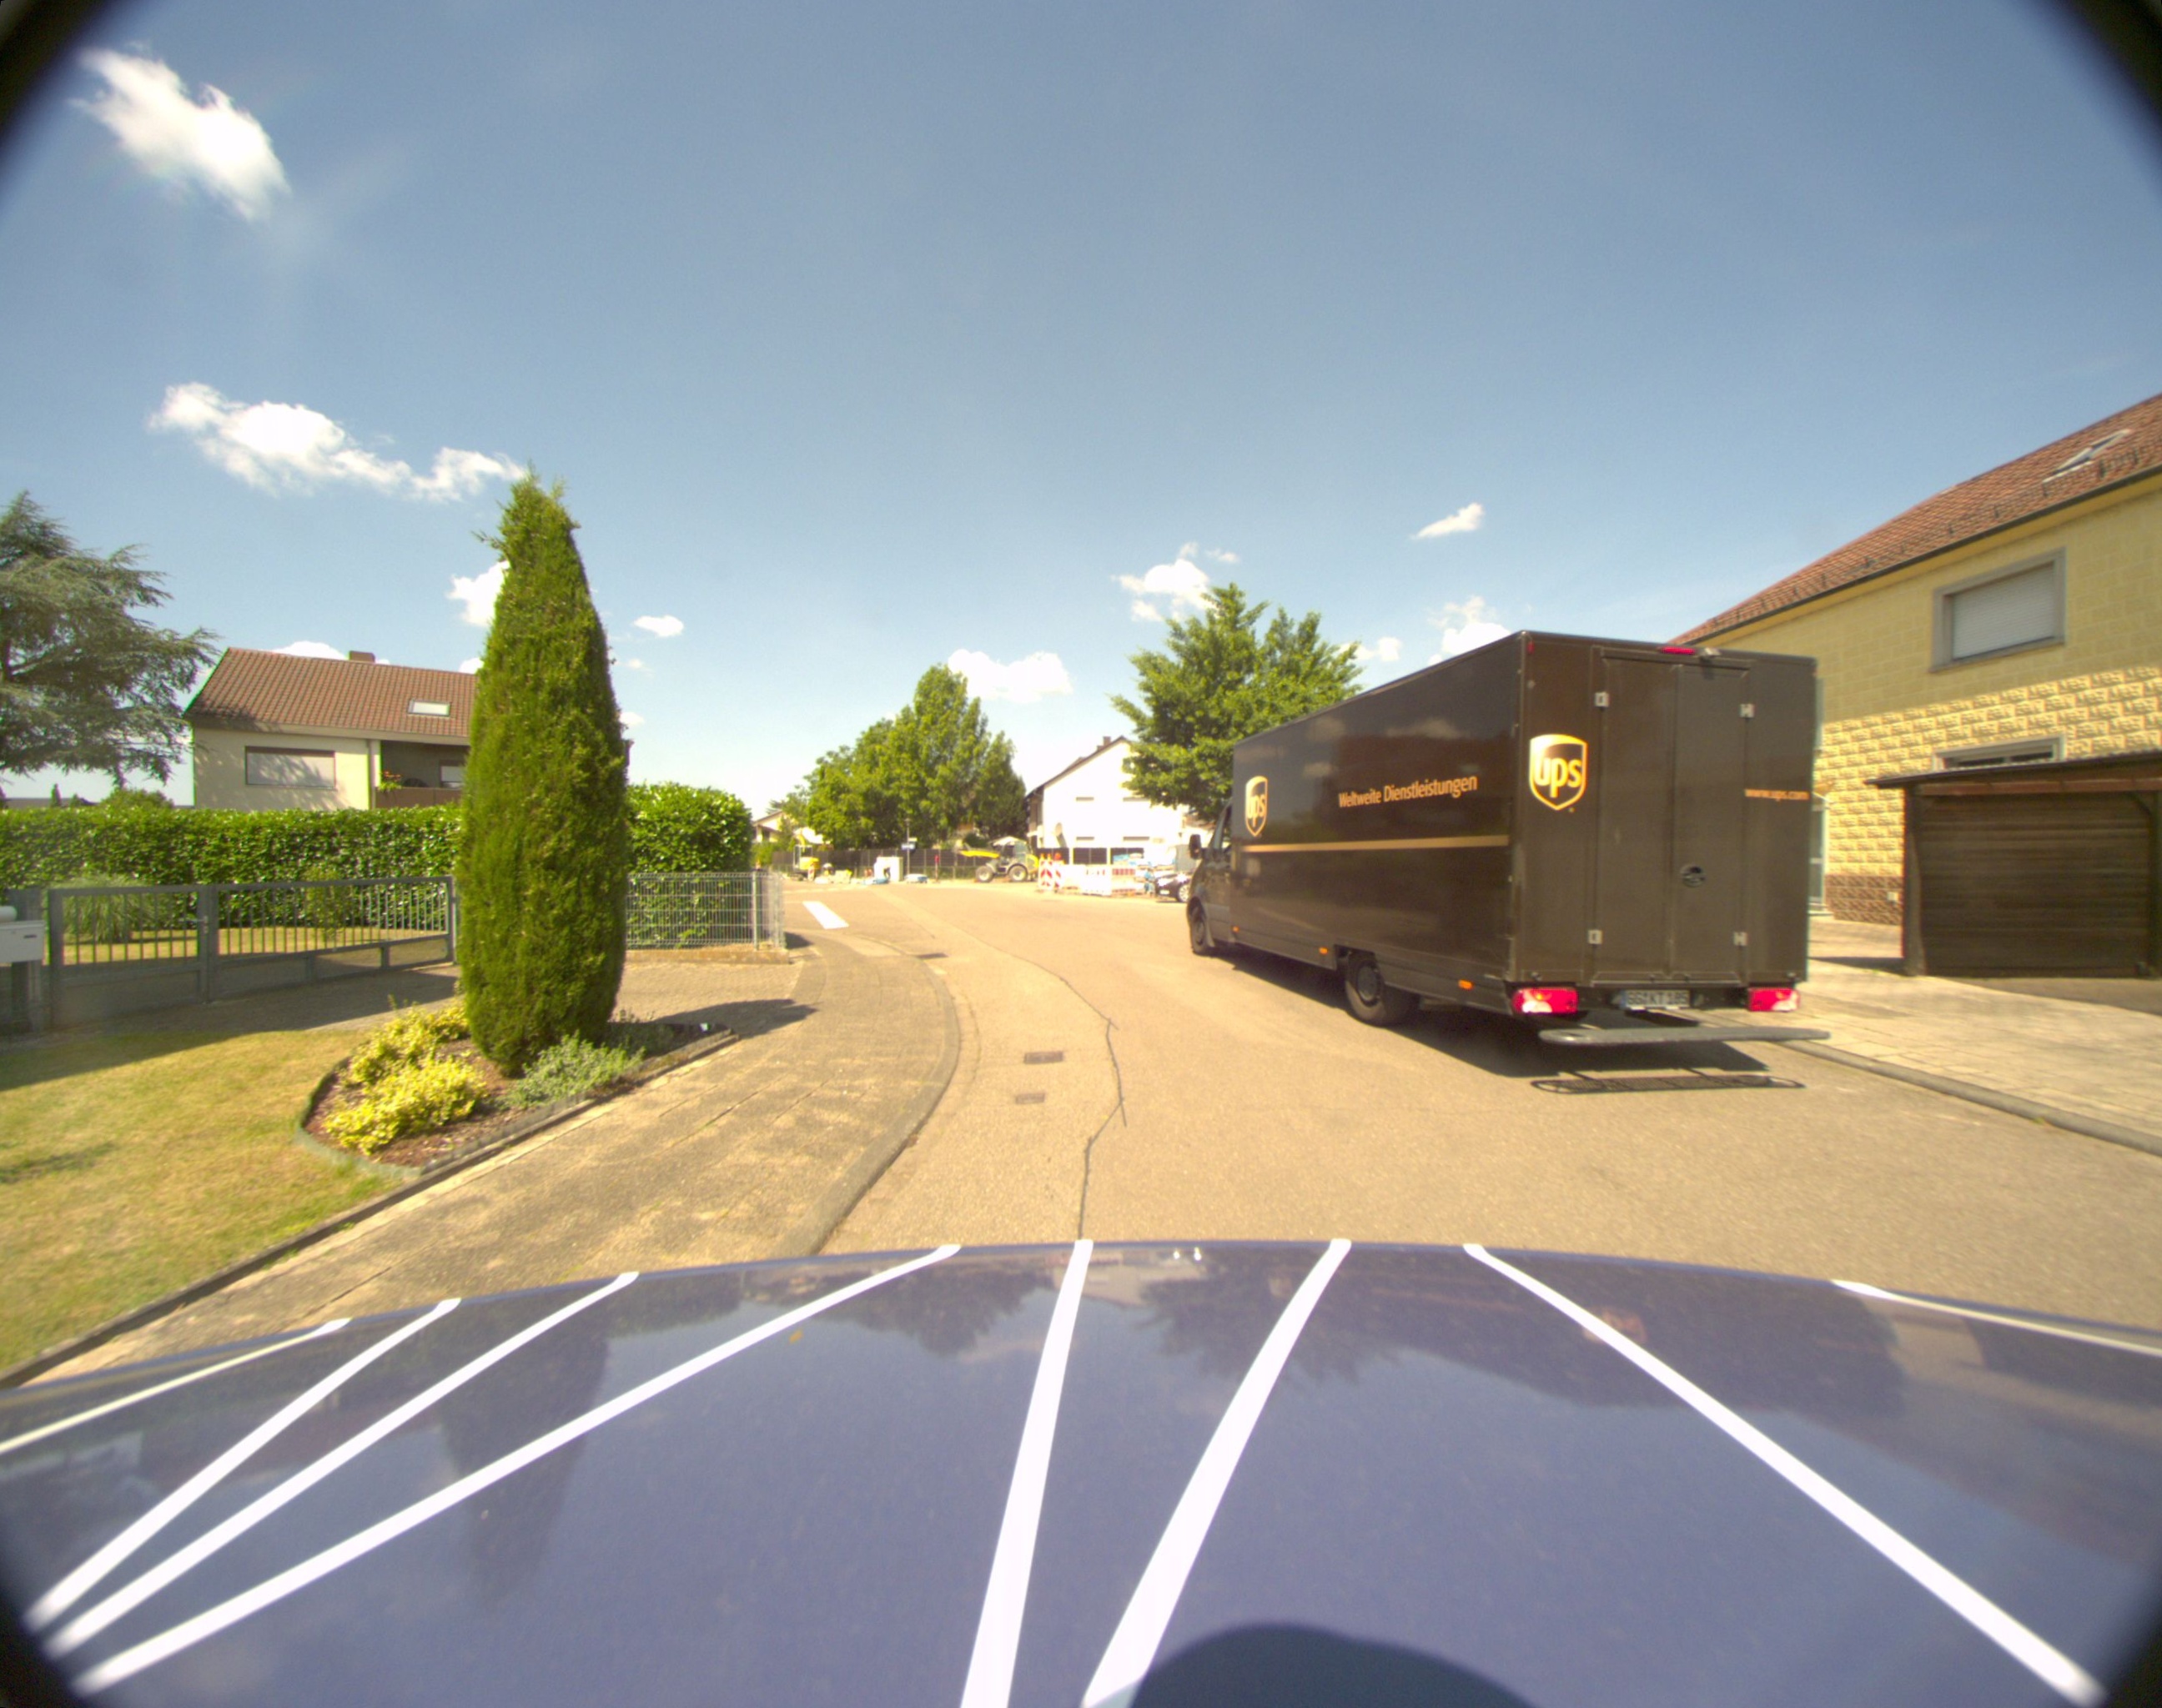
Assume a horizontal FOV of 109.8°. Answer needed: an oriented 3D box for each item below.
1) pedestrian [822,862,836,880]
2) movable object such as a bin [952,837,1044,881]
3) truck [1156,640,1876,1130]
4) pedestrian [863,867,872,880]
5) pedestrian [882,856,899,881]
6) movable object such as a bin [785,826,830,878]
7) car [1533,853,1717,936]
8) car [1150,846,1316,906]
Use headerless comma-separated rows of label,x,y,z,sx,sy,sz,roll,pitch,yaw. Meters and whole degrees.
pedestrian,-16.936,1.130,51.154,0.511,1.162,0.826,-1,1,13
movable object such as a bin,-4.824,0.316,44.649,5.230,2.437,2.000,-1,-1,-5
truck,3.027,0.169,8.094,2.442,2.772,7.290,2,1,-10
pedestrian,-13.645,1.223,48.560,0.431,0.788,0.523,-1,1,4
pedestrian,-11.811,0.899,47.058,0.850,1.505,0.532,-1,1,1
movable object such as a bin,-19.337,-0.129,53.601,2.004,3.545,3.805,-1,1,-35
car,11.320,0.737,16.222,1.788,1.477,4.478,0,1,16
car,4.579,0.663,23.381,4.706,1.526,1.786,-3,-1,0
